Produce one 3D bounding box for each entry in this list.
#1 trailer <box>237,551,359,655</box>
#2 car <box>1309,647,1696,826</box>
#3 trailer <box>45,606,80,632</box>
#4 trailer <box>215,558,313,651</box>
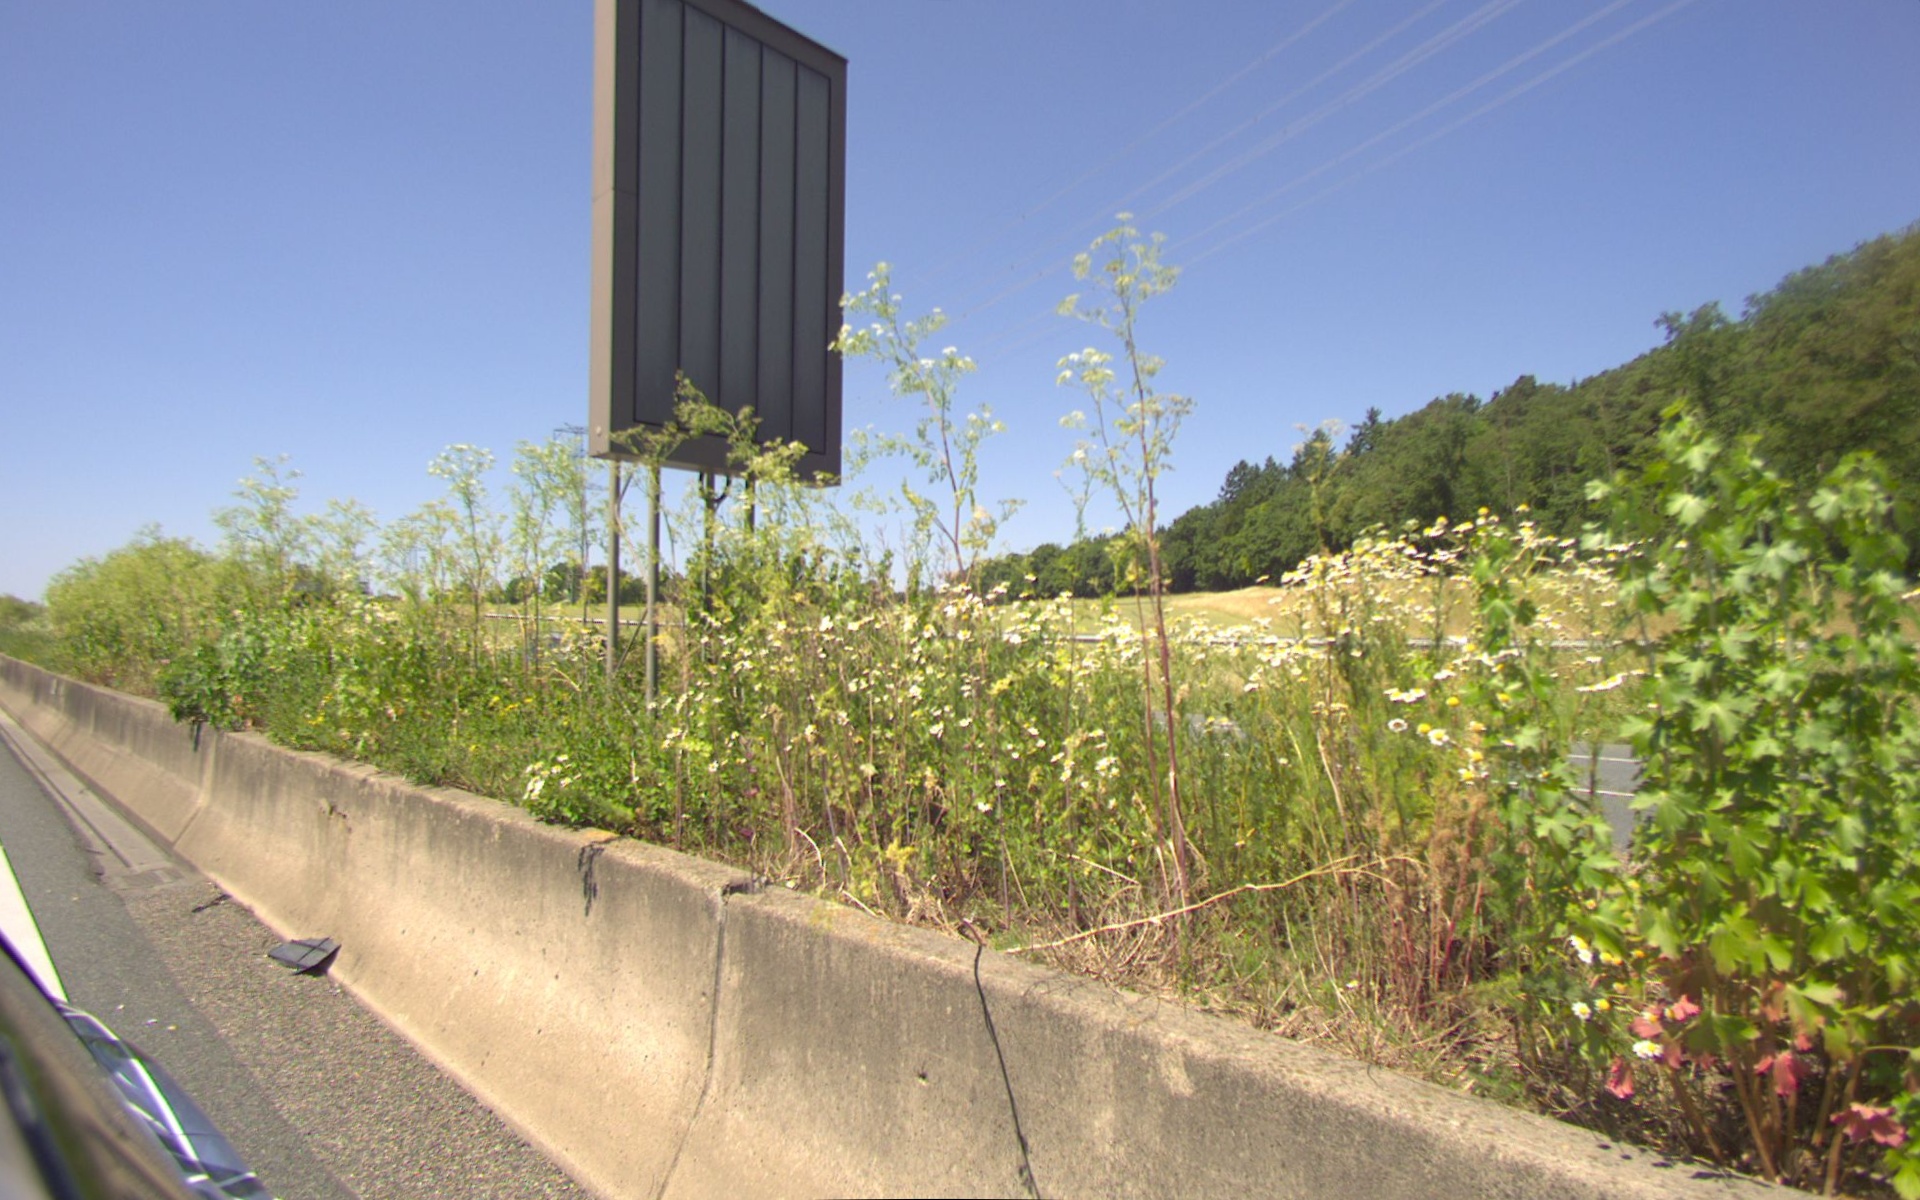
[{"bbox_3d":[-35.351,0.222,53.835,9.592,5.086,3.285,-1,-2,44],"label":"trailer"},{"bbox_3d":[5.330,1.218,10.110,3.126,1.401,1.566,-1,-1,42],"label":"car"},{"bbox_3d":[-135.343,2.921,152.631,8.200,3.790,3.148,-1,-3,43],"label":"trailer"},{"bbox_3d":[-40.460,0.302,58.736,6.704,5.086,3.286,-1,-2,43],"label":"trailer"}]
